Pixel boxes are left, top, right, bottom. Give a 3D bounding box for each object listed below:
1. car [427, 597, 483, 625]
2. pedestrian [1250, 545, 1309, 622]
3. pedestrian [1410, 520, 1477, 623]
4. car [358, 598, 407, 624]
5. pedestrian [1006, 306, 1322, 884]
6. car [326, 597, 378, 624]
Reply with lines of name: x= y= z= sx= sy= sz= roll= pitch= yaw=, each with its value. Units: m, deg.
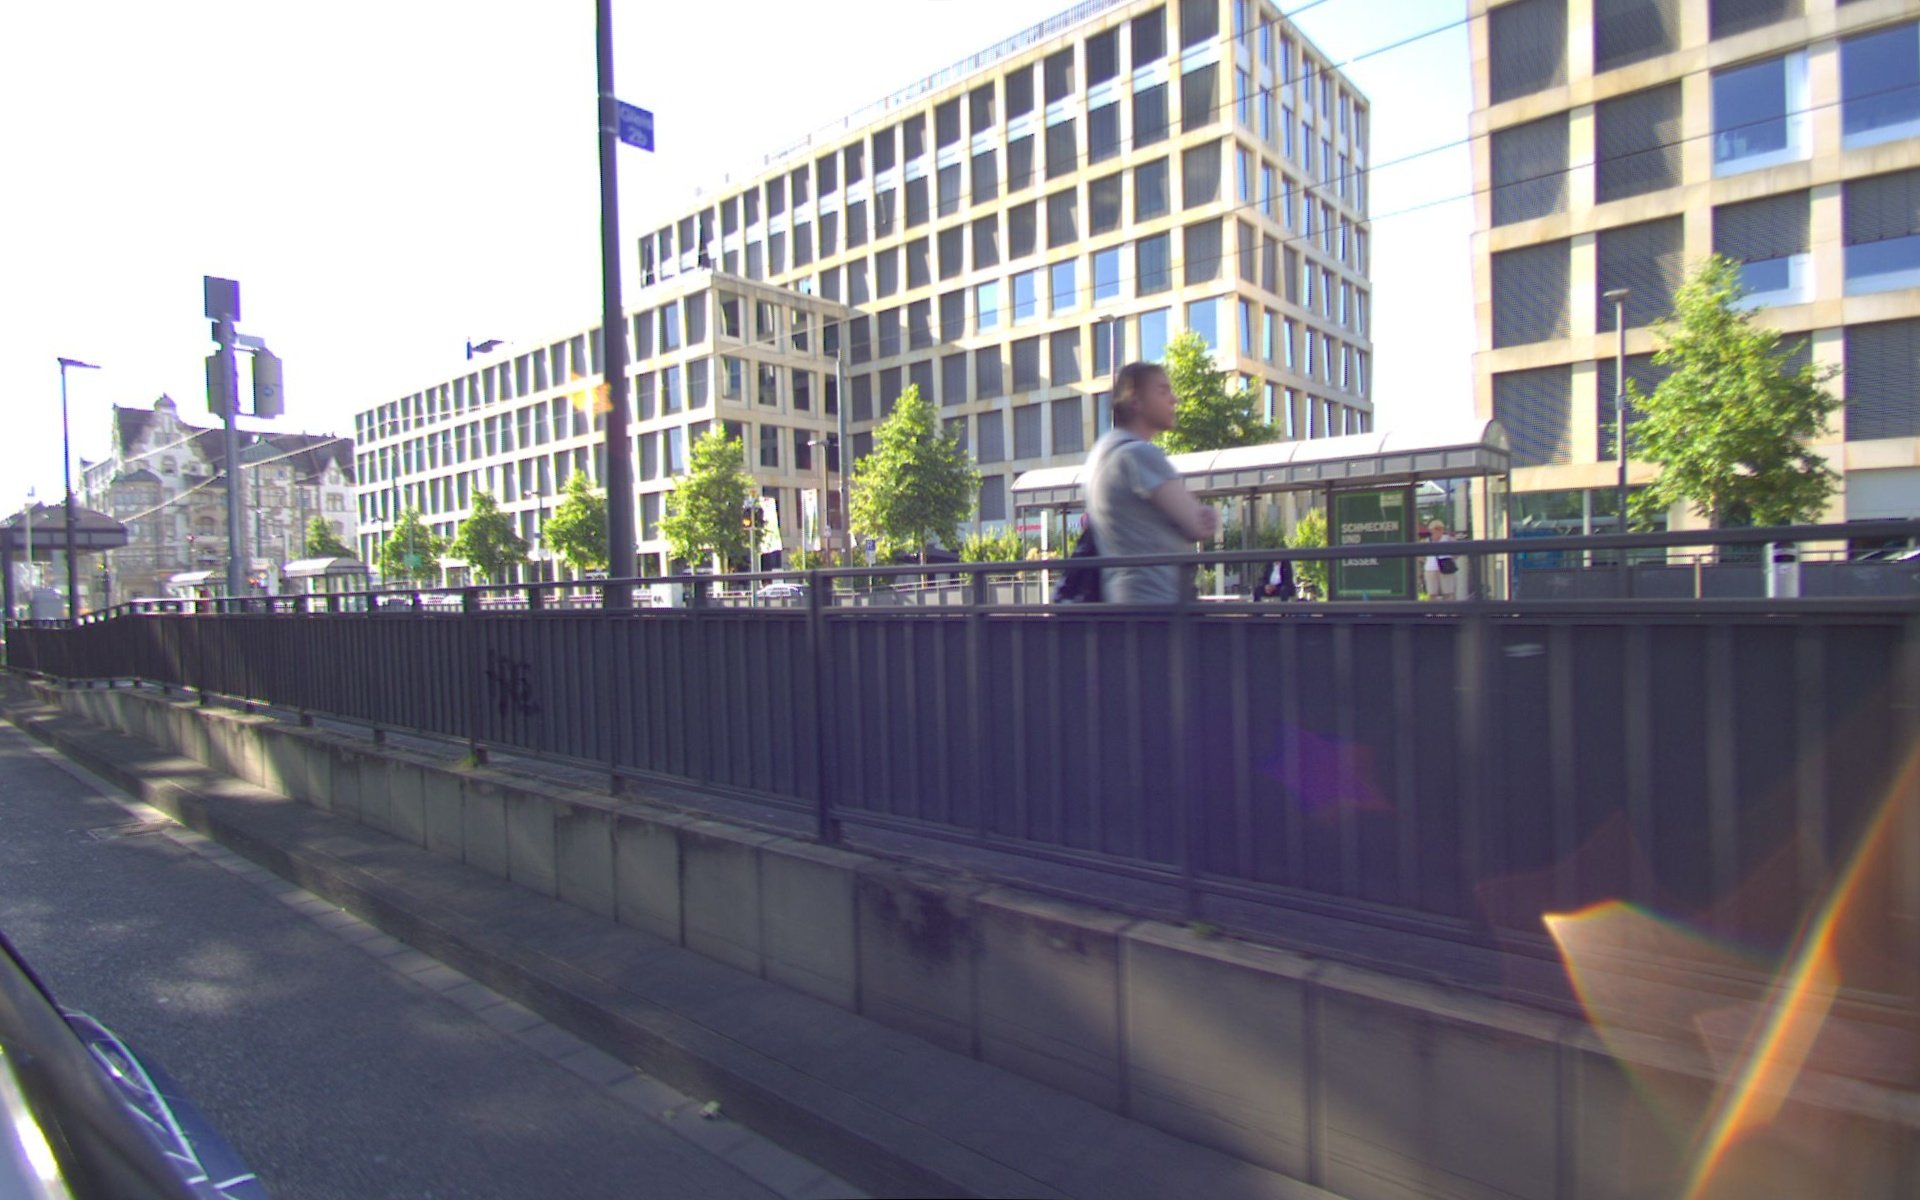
car: x=-28.905 y=0.650 z=57.887 sx=3.599 sy=1.523 sz=1.627 roll=-1 pitch=1 yaw=42
pedestrian: x=5.423 y=-0.275 z=17.176 sx=0.725 sy=1.269 sz=0.607 roll=-1 pitch=1 yaw=45
pedestrian: x=7.419 y=-0.429 z=15.530 sx=0.607 sy=1.539 sz=0.725 roll=-2 pitch=1 yaw=-41
car: x=-37.151 y=0.741 z=65.090 sx=3.649 sy=1.573 sz=1.627 roll=-1 pitch=1 yaw=42
pedestrian: x=0.632 y=-0.019 z=3.205 sx=0.606 sy=1.560 sz=0.726 roll=-2 pitch=1 yaw=-39
car: x=-41.513 y=0.730 z=69.090 sx=3.999 sy=1.782 sz=1.898 roll=-1 pitch=1 yaw=42
